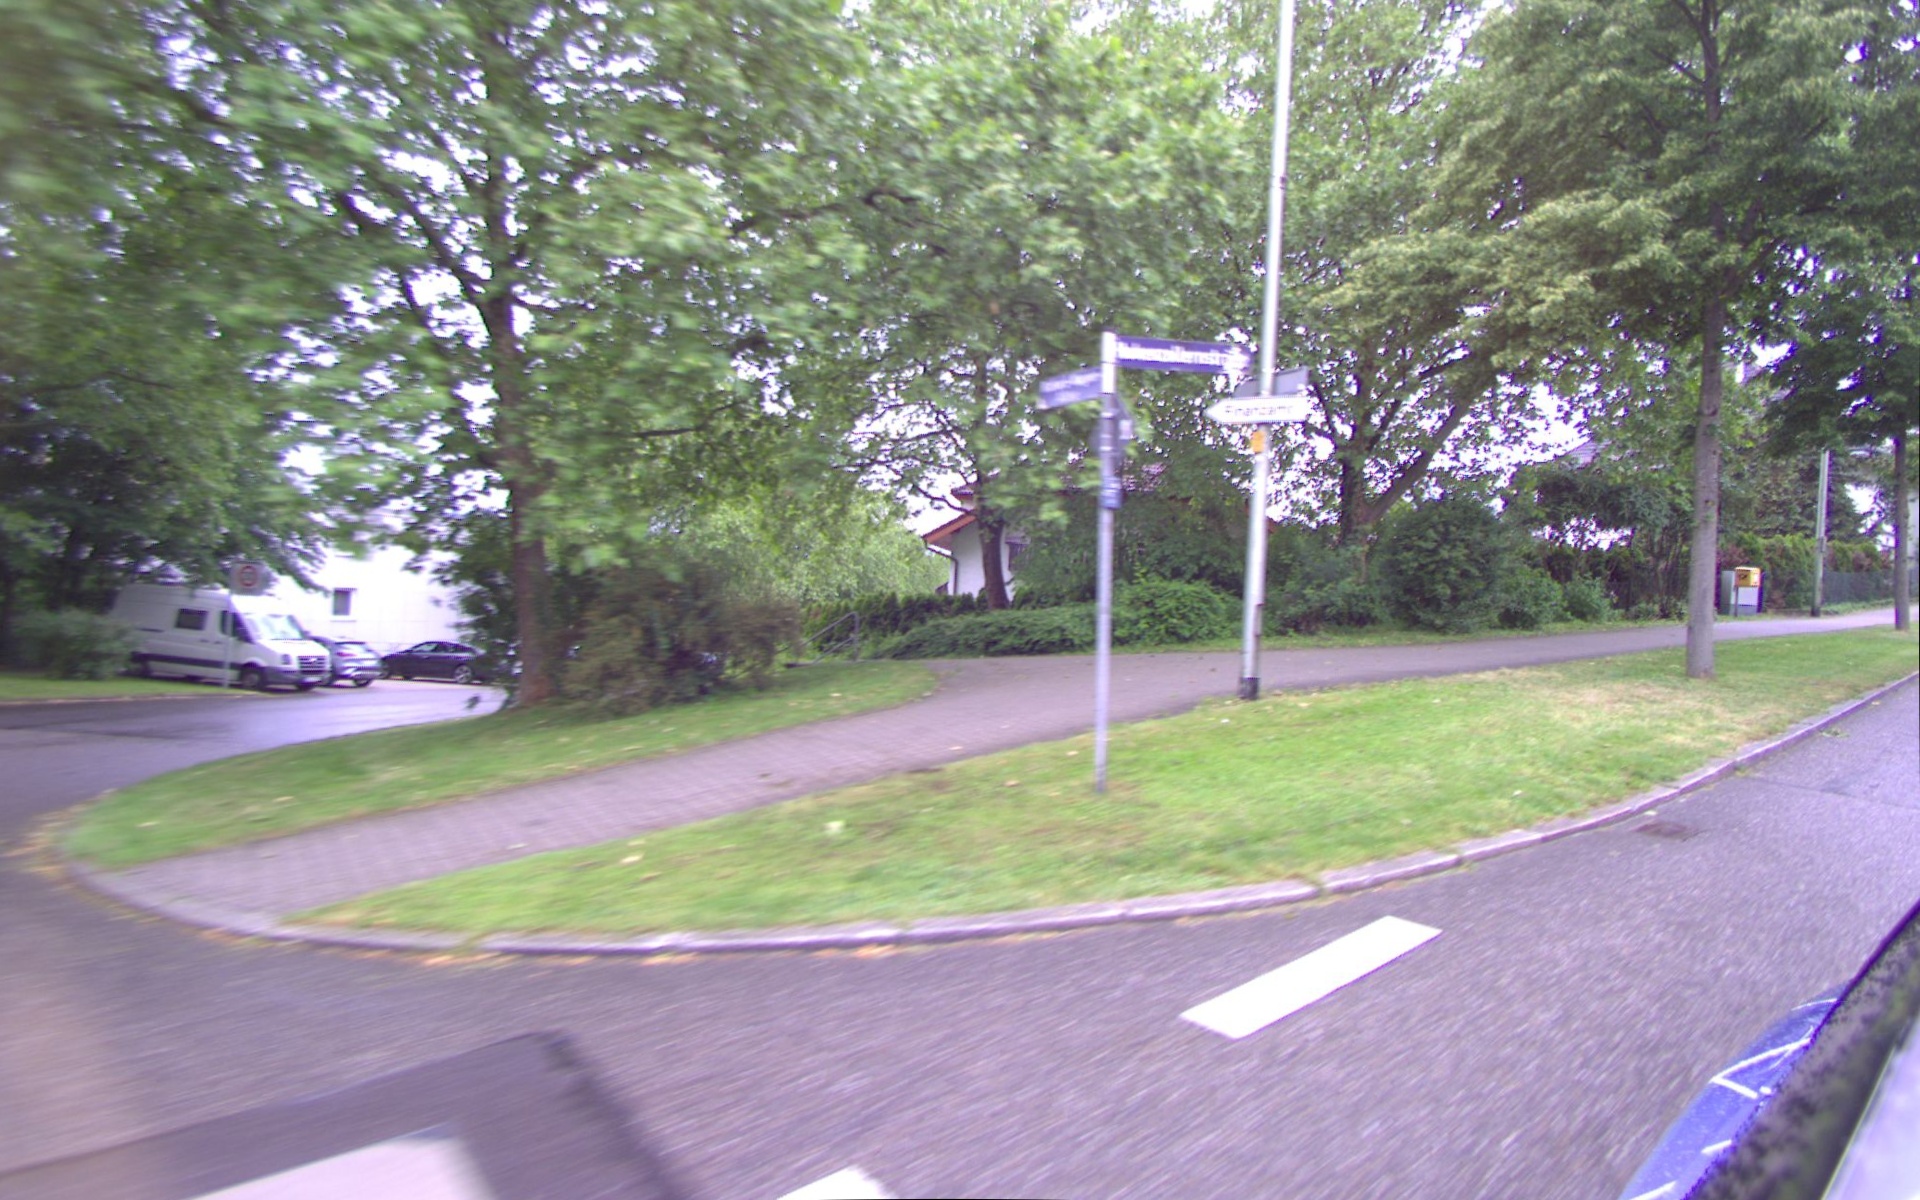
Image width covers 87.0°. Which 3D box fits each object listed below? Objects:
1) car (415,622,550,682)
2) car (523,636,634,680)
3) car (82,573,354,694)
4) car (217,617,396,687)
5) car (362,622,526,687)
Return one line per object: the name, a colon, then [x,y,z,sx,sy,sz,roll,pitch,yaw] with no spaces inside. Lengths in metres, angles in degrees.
car: [-18.607,1.986,39.506,4.233,1.862,2.083,5,1,8]
car: [-17.698,2.666,47.093,4.231,1.863,2.352,0,0,8]
car: [-20.502,0.861,28.104,6.046,2.707,2.352,5,0,8]
car: [-19.925,1.590,30.966,4.233,1.714,1.938,5,-3,8]
car: [-18.588,1.977,36.647,4.626,1.863,2.354,5,-3,3]
